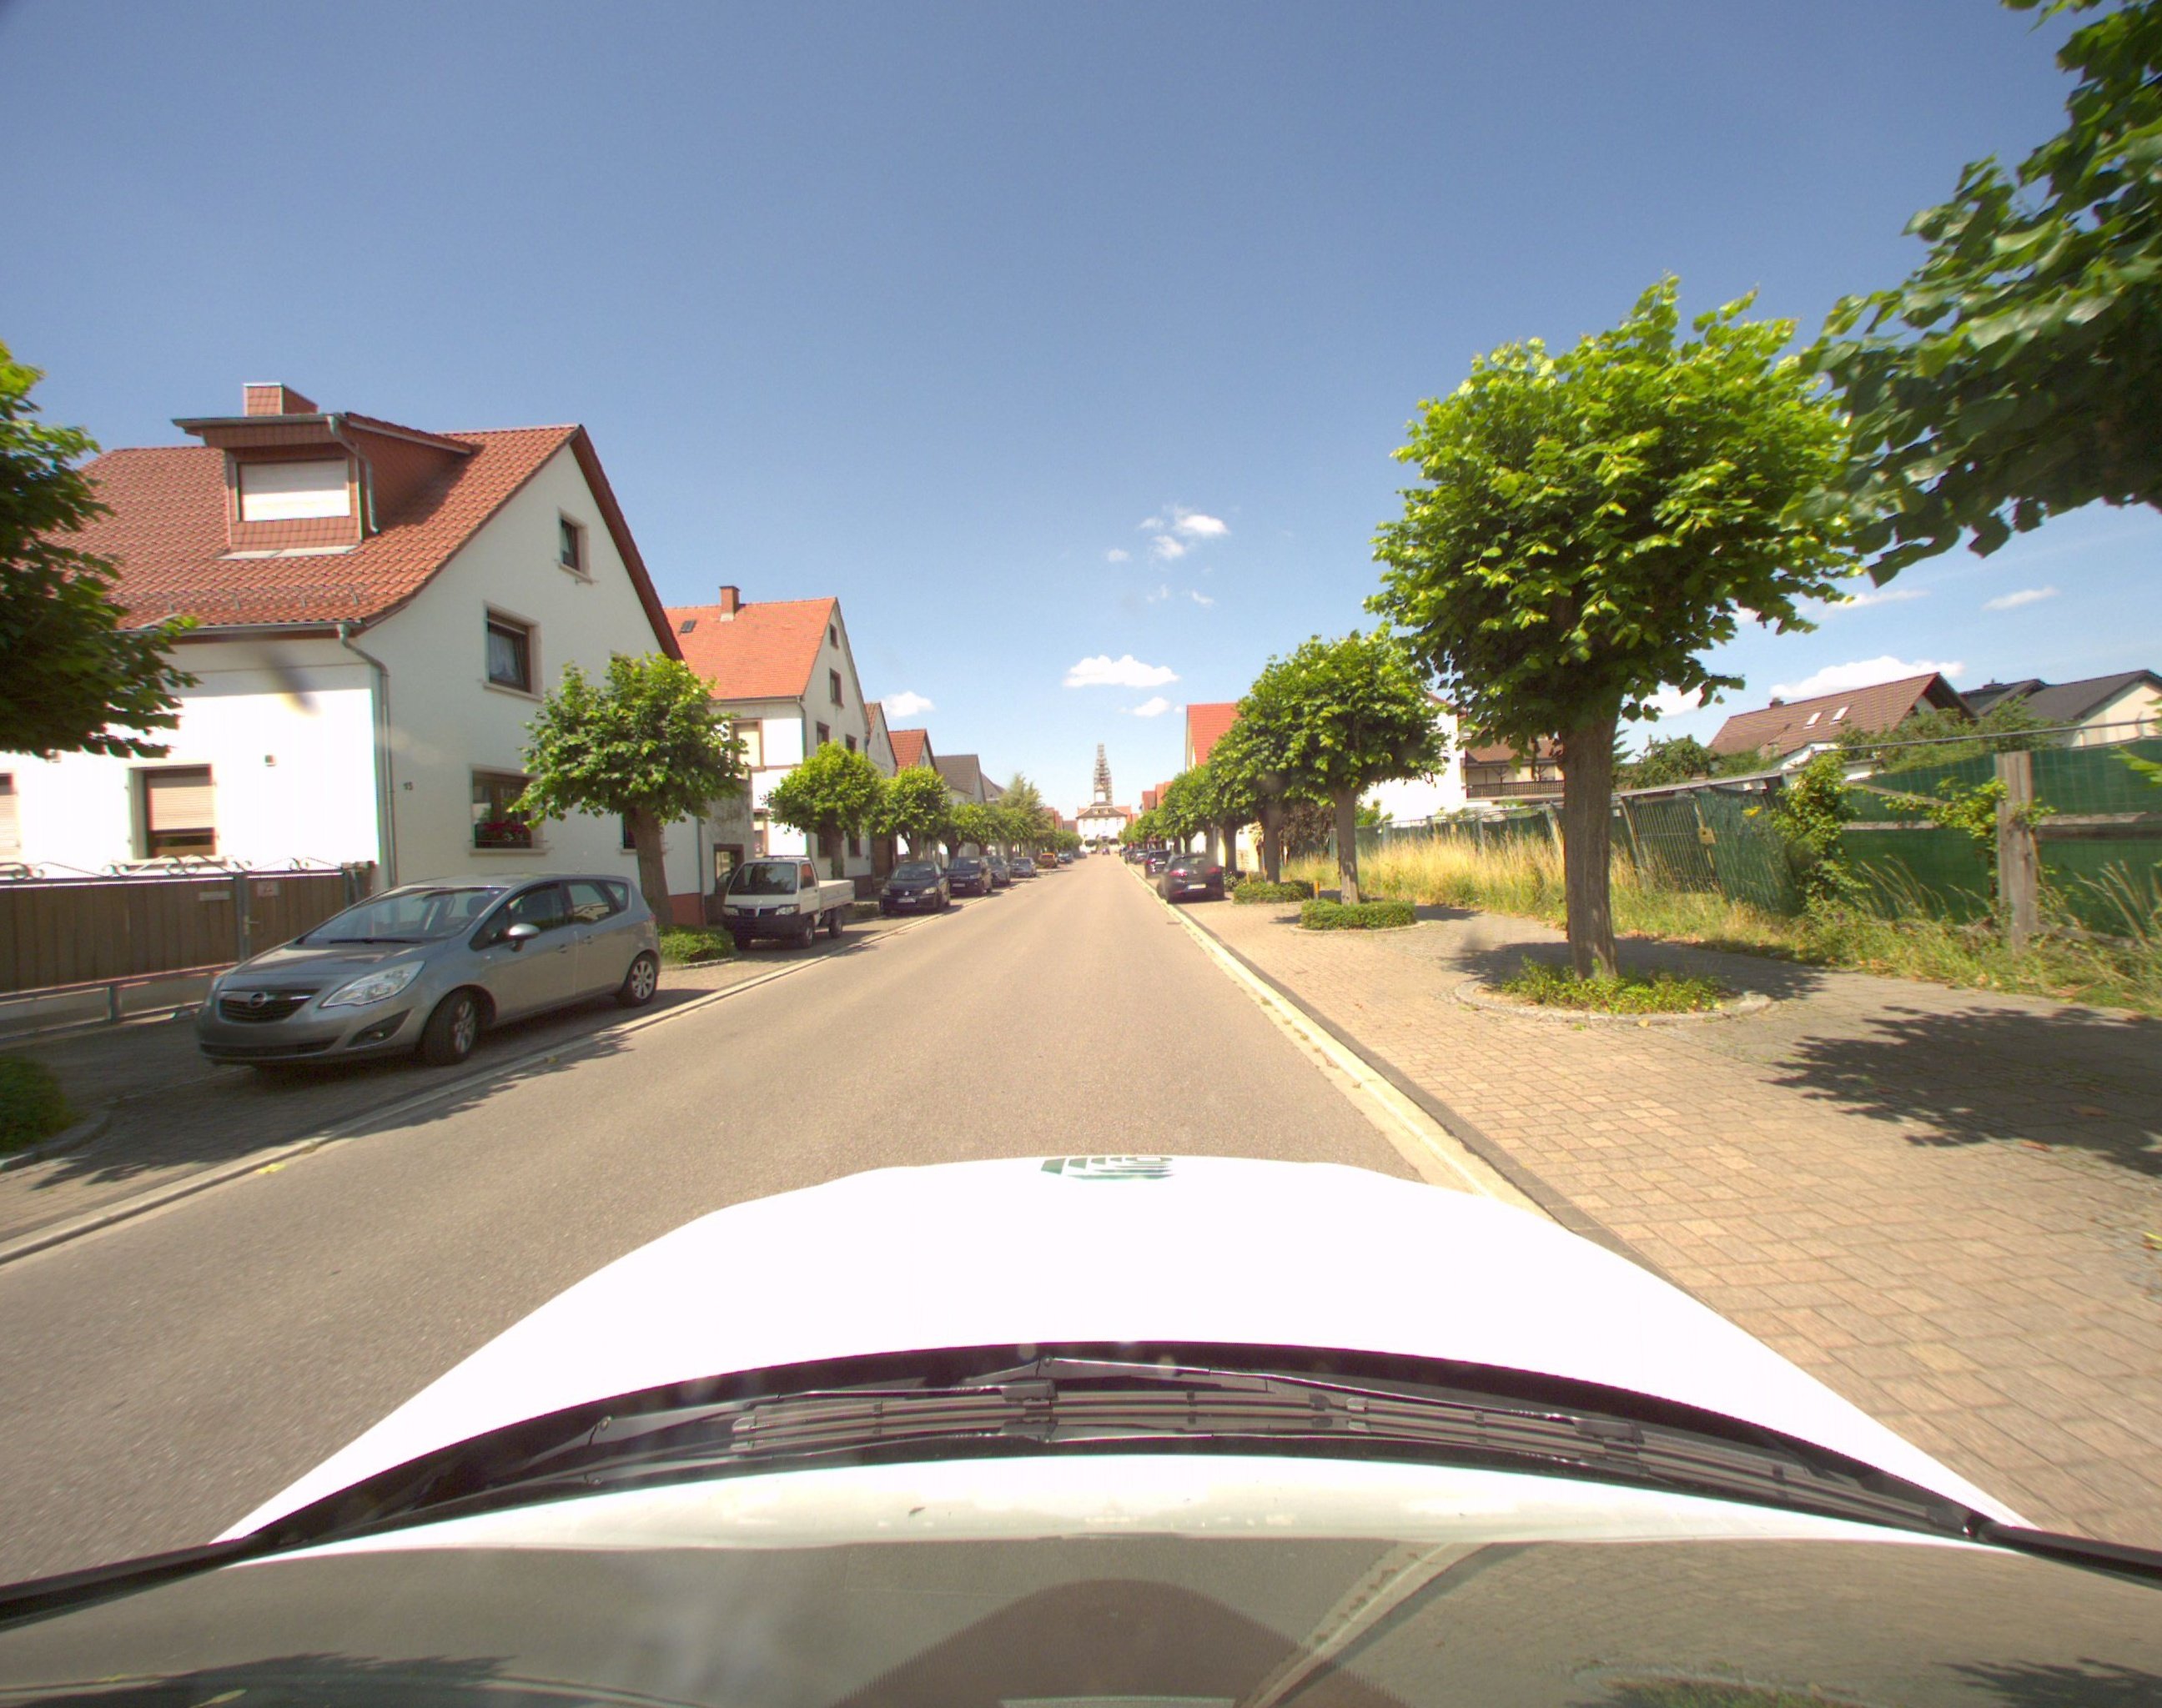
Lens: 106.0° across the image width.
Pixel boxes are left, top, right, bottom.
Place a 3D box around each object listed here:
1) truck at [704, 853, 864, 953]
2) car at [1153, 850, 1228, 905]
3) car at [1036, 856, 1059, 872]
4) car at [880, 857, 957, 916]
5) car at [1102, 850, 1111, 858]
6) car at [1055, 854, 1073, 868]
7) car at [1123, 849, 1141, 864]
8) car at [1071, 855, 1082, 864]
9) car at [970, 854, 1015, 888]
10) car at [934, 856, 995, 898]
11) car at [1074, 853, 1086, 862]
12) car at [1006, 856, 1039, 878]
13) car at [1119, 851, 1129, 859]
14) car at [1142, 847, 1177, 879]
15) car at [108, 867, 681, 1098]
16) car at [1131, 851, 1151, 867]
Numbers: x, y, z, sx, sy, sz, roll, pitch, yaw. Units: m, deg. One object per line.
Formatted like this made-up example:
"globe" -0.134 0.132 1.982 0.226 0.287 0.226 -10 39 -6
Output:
"truck" -5.827 0.879 16.530 1.570 1.765 4.194 -1 0 2
"car" 3.314 0.669 25.302 1.817 1.432 4.058 -5 0 2
"car" -3.582 1.066 87.476 1.985 1.611 4.692 -1 0 3
"car" -4.936 0.940 25.231 1.782 1.634 3.995 -1 0 -4
"car" 5.638 0.001 180.072 1.720 1.547 3.462 -1 -1 7
"car" -2.211 0.921 109.029 1.985 1.611 4.693 -2 1 3
"car" 5.947 0.306 94.718 1.831 1.555 4.315 -4 0 2
"car" -0.859 0.929 152.026 1.750 1.555 4.022 -3 0 2
"car" -4.642 0.875 43.326 1.988 1.652 4.365 -1 0 -2
"car" -4.811 0.921 34.135 1.846 1.635 4.058 -1 -1 2
"car" -0.161 0.661 157.758 1.985 1.611 3.858 -1 -1 3
"car" -4.118 0.908 57.637 1.834 1.396 4.408 -2 0 1
"car" 8.234 0.176 157.491 1.830 1.555 4.316 -4 0 2
"car" 4.505 0.481 46.573 1.815 1.586 4.063 -4 0 6
"car" -6.007 0.957 8.036 1.846 1.613 4.372 -1 -1 2
"car" 6.390 0.552 87.177 1.831 1.607 4.000 -2 0 0
